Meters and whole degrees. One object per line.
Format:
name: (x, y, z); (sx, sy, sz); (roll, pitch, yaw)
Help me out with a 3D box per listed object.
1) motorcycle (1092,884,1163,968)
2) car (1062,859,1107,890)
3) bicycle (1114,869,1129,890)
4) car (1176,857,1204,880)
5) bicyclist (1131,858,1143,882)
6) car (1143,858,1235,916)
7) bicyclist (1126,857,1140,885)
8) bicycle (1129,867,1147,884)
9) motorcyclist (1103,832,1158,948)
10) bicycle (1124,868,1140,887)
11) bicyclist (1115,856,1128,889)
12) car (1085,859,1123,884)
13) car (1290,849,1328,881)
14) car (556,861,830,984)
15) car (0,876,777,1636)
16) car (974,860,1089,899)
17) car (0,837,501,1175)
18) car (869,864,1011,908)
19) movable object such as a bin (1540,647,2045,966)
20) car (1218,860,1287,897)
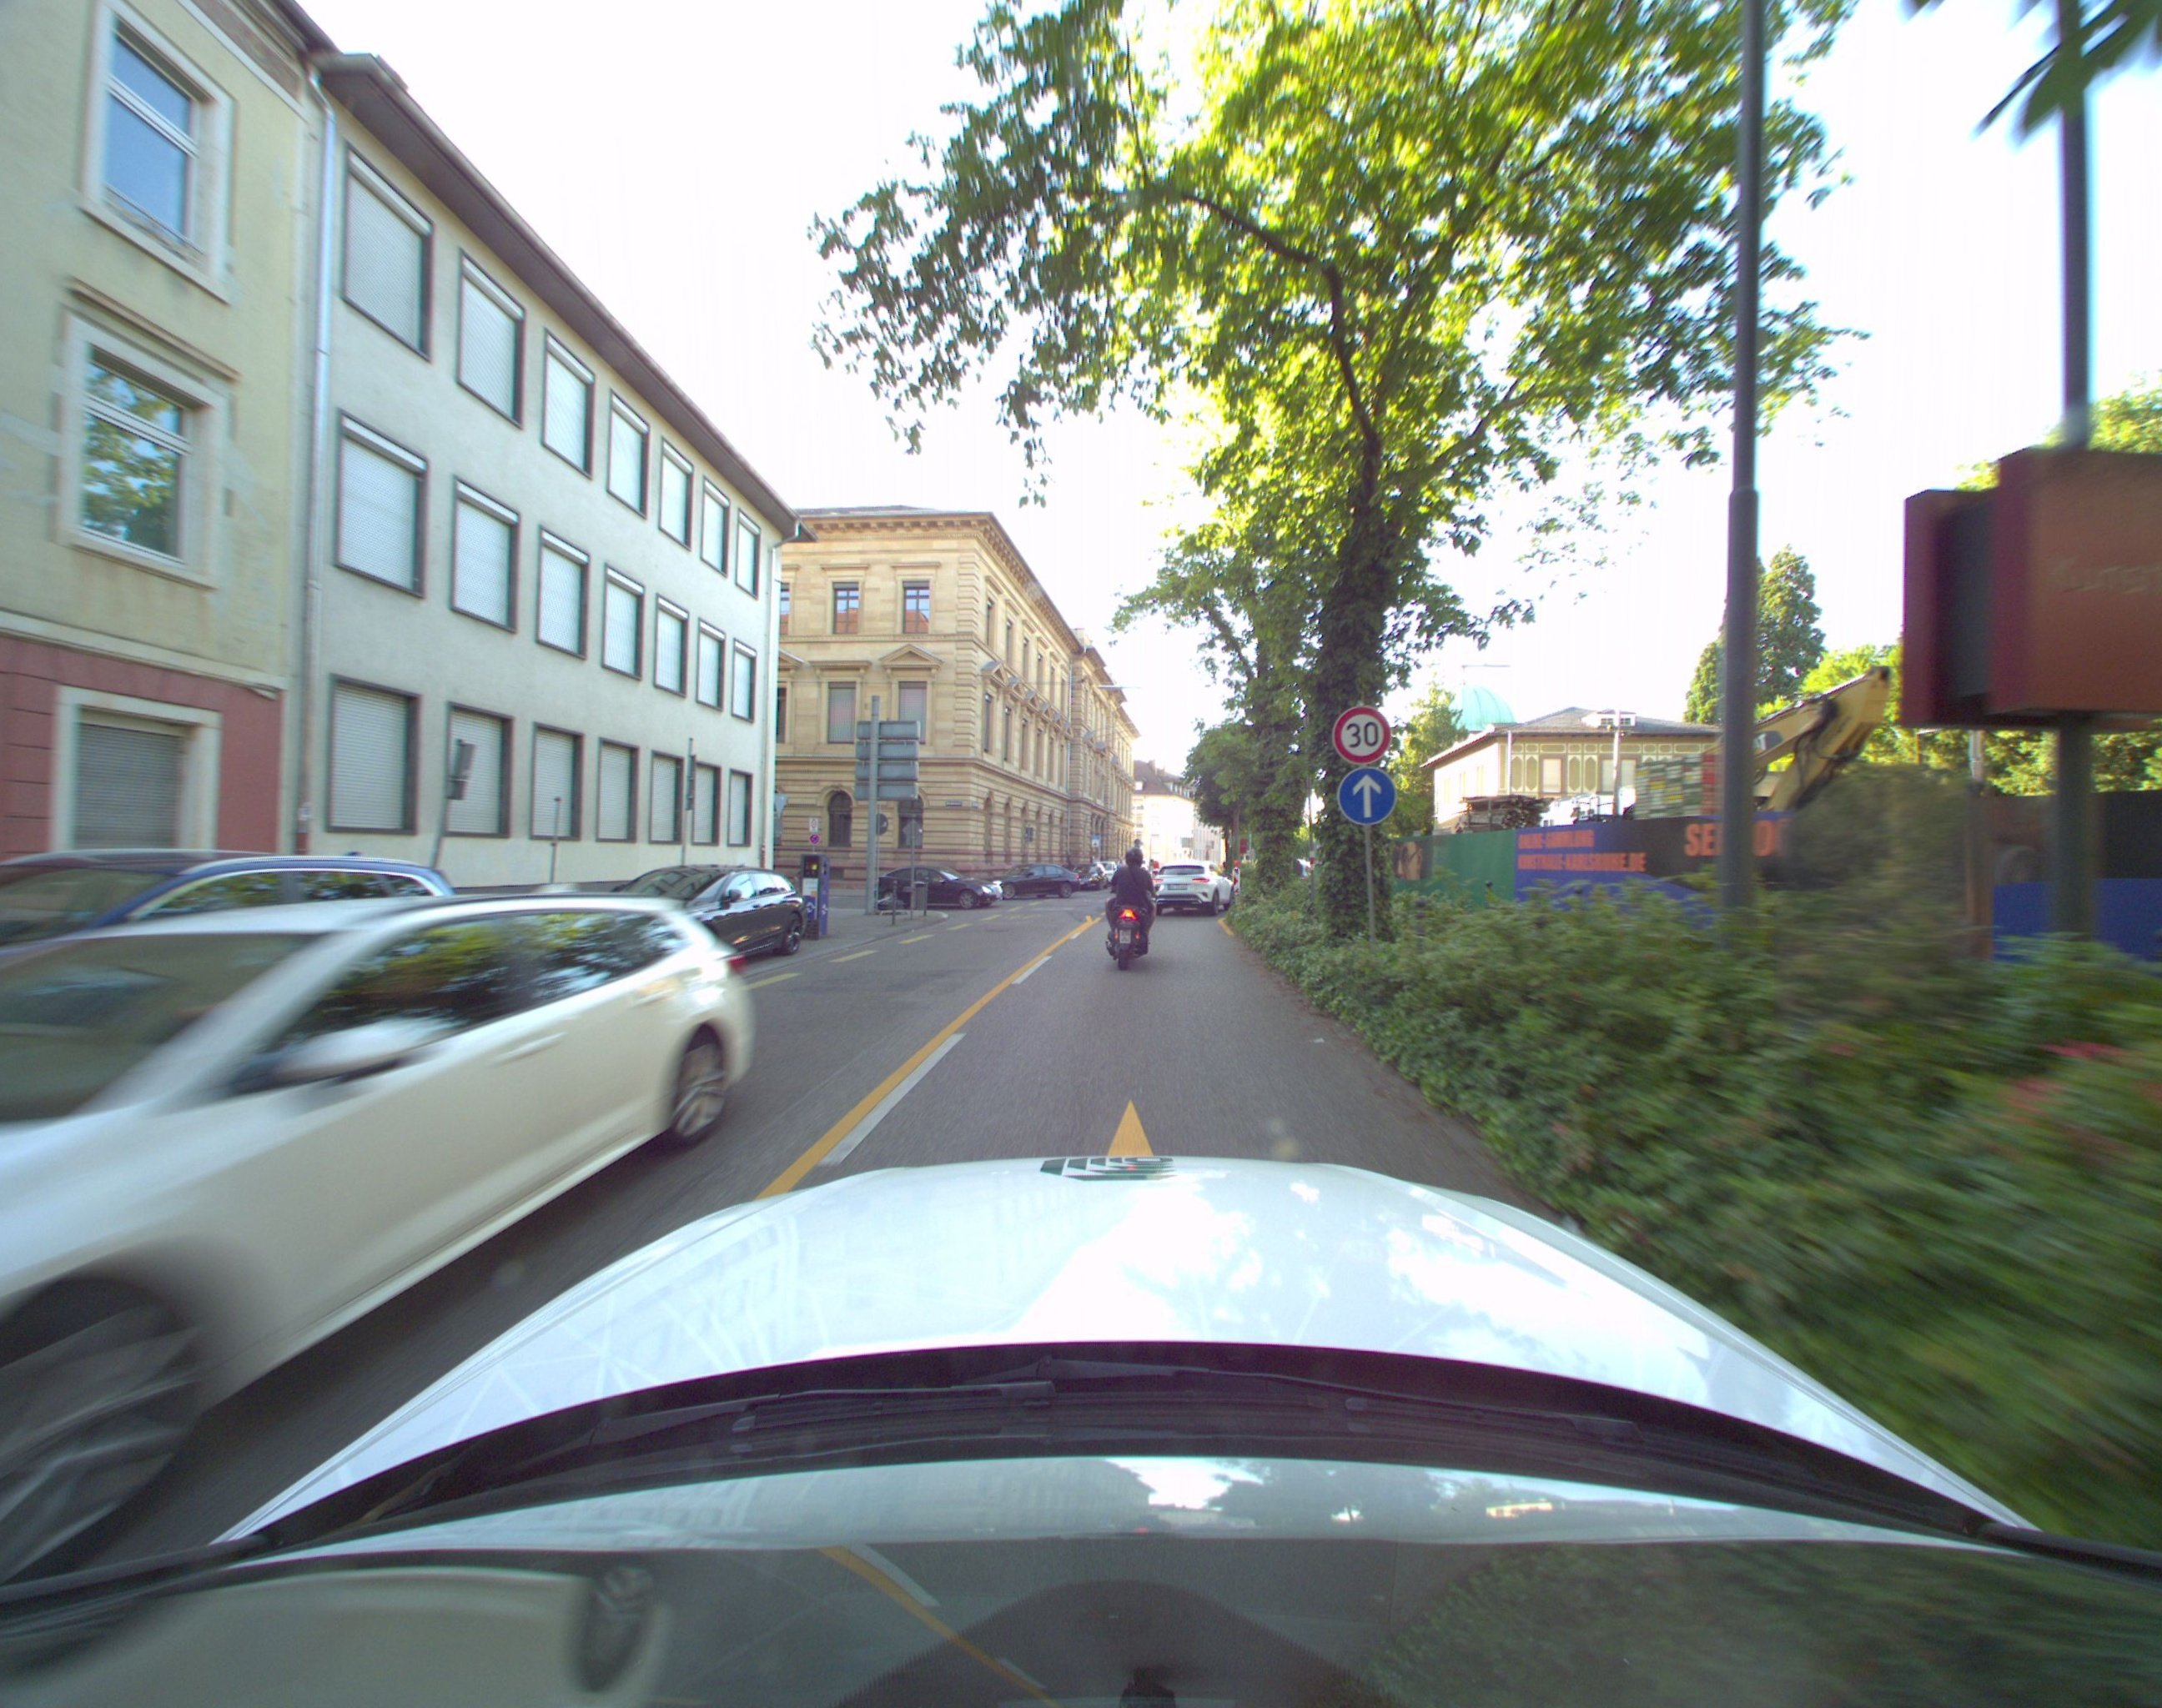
motorcycle: (0.715, 1.002, 11.918); (0.791, 1.066, 1.730); (2, 0, 11)
car: (0.257, 1.077, 44.005); (1.983, 1.567, 4.296); (0, 0, 6)
bicycle: (2.103, 1.332, 42.379); (0.579, 1.035, 2.134); (0, 0, 8)
car: (8.104, 1.056, 60.573); (1.983, 1.695, 4.407); (0, 0, 6)
bicyclist: (3.685, 1.055, 53.409); (0.623, 1.554, 0.736); (0, -1, 22)
car: (3.180, 0.882, 23.266); (1.836, 1.480, 4.077); (-1, 0, 19)
bicyclist: (3.055, 0.973, 47.681); (0.623, 1.613, 0.873); (0, -1, 17)
bicycle: (3.738, 1.389, 53.431); (0.528, 1.035, 2.047); (0, 0, 22)
motorcyclist: (0.737, 0.514, 12.006); (0.653, 1.650, 0.653); (2, -1, 12)
bicycle: (3.006, 1.379, 47.691); (0.529, 1.035, 1.915); (0, 0, 17)
bicyclist: (2.109, 0.957, 42.498); (0.563, 1.667, 0.836); (0, -1, 9)
car: (1.501, 1.081, 51.361); (1.983, 1.528, 4.192); (0, 0, 6)
car: (14.244, 0.680, 51.046); (1.829, 1.912, 4.068); (2, 0, 10)
car: (-5.734, 0.895, 12.872); (1.816, 1.503, 4.763); (2, 0, 2)
car: (-2.965, 0.855, 3.234); (1.728, 1.421, 4.430); (0, 0, 2)
car: (-1.963, 0.992, 33.060); (4.492, 1.461, 1.755); (0, 0, -39)
car: (-6.232, 0.749, 5.094); (1.926, 1.667, 4.350); (0, 0, 3)
car: (-4.673, 1.041, 27.153); (4.285, 1.390, 1.781); (0, 0, 11)
movable object such as a bin: (12.409, -0.666, 15.647); (3.291, 4.539, 7.915); (0, 0, 5)
car: (7.512, 1.049, 35.364); (1.823, 1.463, 4.081); (2, 0, 28)
